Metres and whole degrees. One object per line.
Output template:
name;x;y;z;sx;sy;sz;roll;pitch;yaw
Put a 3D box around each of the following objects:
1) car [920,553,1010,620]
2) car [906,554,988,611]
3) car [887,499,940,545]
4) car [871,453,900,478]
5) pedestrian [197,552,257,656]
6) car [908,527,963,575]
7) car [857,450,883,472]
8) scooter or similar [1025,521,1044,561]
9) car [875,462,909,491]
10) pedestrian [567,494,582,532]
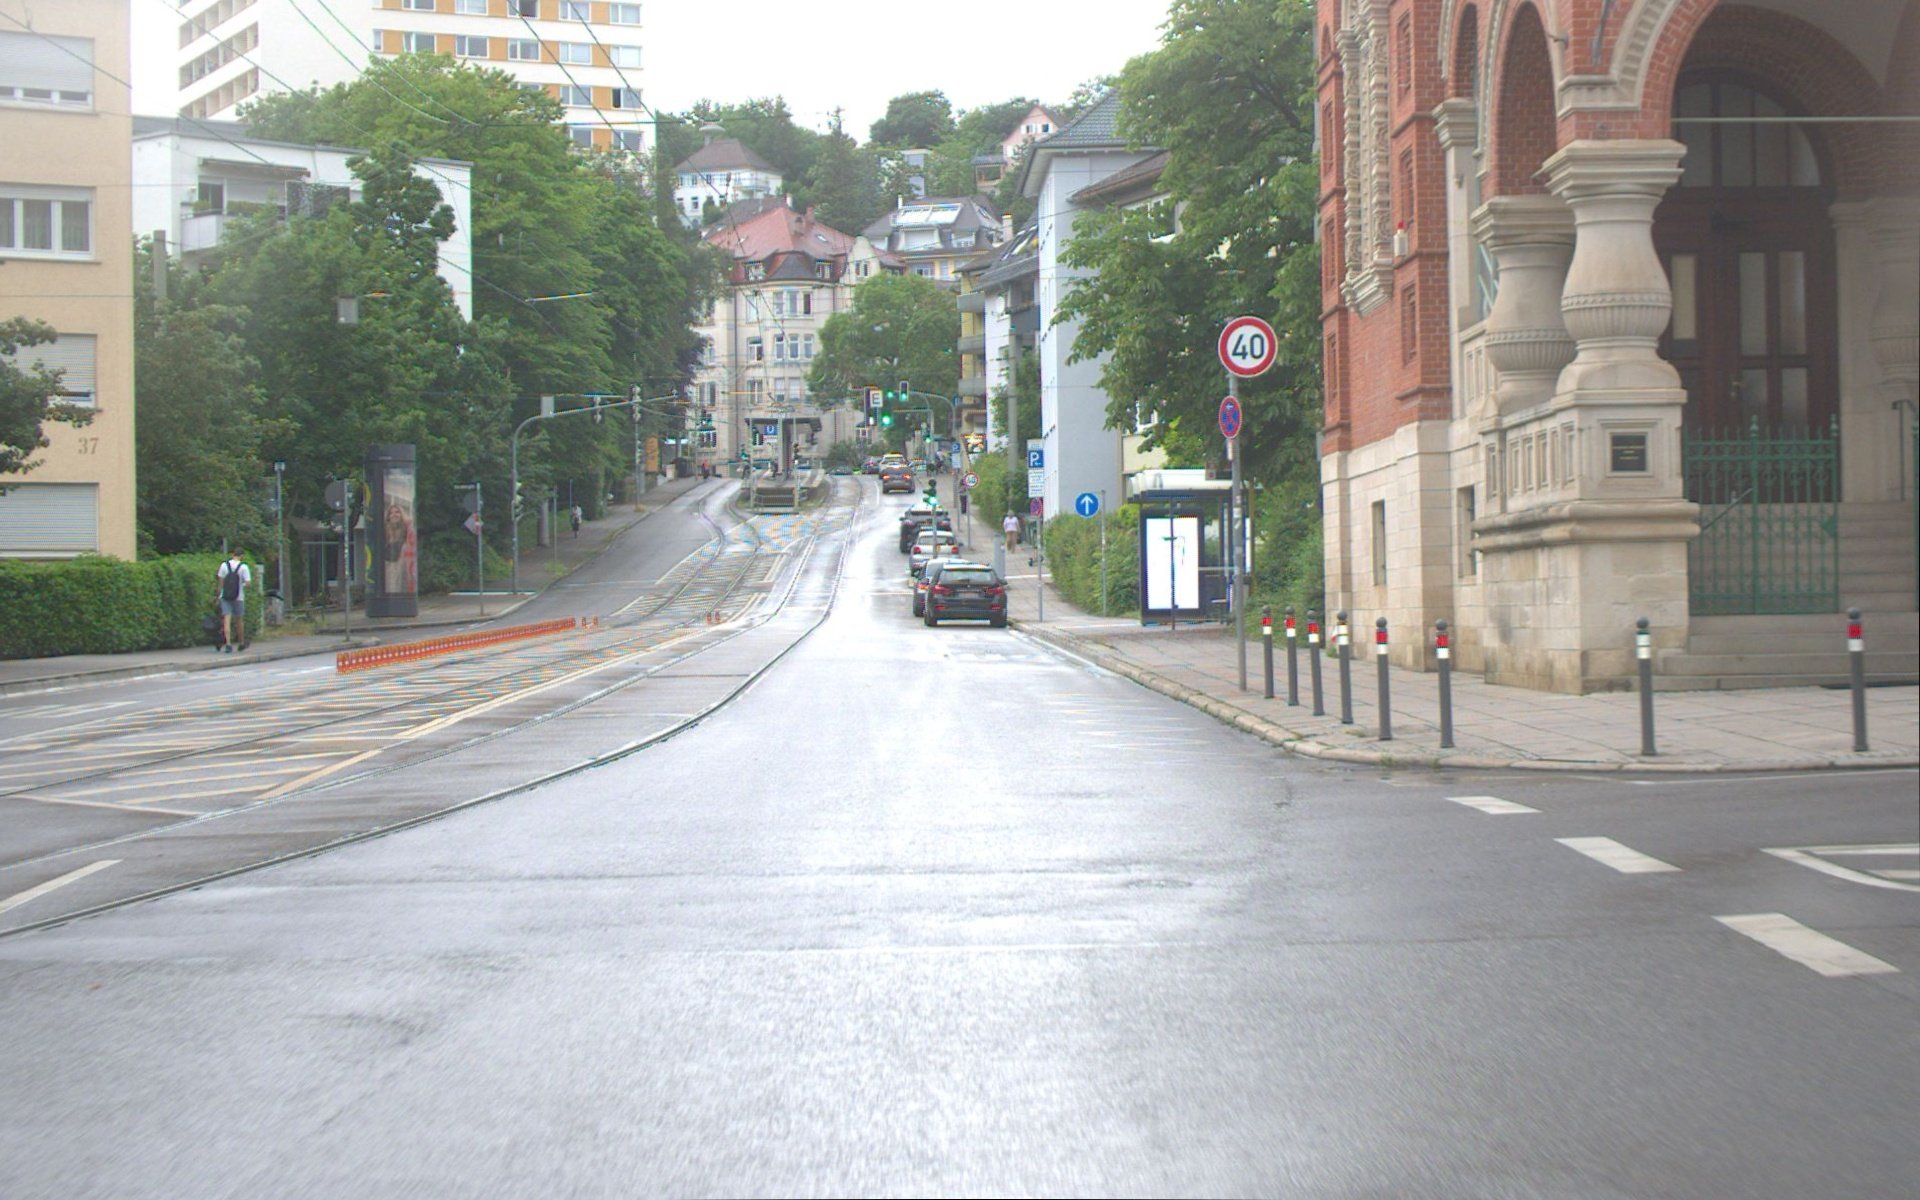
car;0.085;-0.338;78.783;1.857;1.482;4.645;0;1;-3
car;-0.369;-0.470;90.345;1.939;1.459;4.207;0;1;-3
car;-1.779;-2.997;131.511;1.906;1.636;4.690;0;3;-2
car;-5.046;-9.108;232.095;1.906;1.636;4.690;0;3;-2
pedestrian;-13.146;0.074;61.654;0.918;1.839;1.017;0;0;-5
car;-0.833;-1.660;115.272;1.704;1.428;4.102;0;3;-2
car;-6.762;-10.461;258.783;1.906;1.636;4.690;0;3;-2
scooter or similar;2.512;-2.002;115.985;0.575;1.245;1.610;0;5;4
car;-4.019;-7.276;203.381;1.802;1.640;4.000;0;1;2
pedestrian;-16.422;-3.716;146.577;0.583;1.594;0.869;1;2;-5
